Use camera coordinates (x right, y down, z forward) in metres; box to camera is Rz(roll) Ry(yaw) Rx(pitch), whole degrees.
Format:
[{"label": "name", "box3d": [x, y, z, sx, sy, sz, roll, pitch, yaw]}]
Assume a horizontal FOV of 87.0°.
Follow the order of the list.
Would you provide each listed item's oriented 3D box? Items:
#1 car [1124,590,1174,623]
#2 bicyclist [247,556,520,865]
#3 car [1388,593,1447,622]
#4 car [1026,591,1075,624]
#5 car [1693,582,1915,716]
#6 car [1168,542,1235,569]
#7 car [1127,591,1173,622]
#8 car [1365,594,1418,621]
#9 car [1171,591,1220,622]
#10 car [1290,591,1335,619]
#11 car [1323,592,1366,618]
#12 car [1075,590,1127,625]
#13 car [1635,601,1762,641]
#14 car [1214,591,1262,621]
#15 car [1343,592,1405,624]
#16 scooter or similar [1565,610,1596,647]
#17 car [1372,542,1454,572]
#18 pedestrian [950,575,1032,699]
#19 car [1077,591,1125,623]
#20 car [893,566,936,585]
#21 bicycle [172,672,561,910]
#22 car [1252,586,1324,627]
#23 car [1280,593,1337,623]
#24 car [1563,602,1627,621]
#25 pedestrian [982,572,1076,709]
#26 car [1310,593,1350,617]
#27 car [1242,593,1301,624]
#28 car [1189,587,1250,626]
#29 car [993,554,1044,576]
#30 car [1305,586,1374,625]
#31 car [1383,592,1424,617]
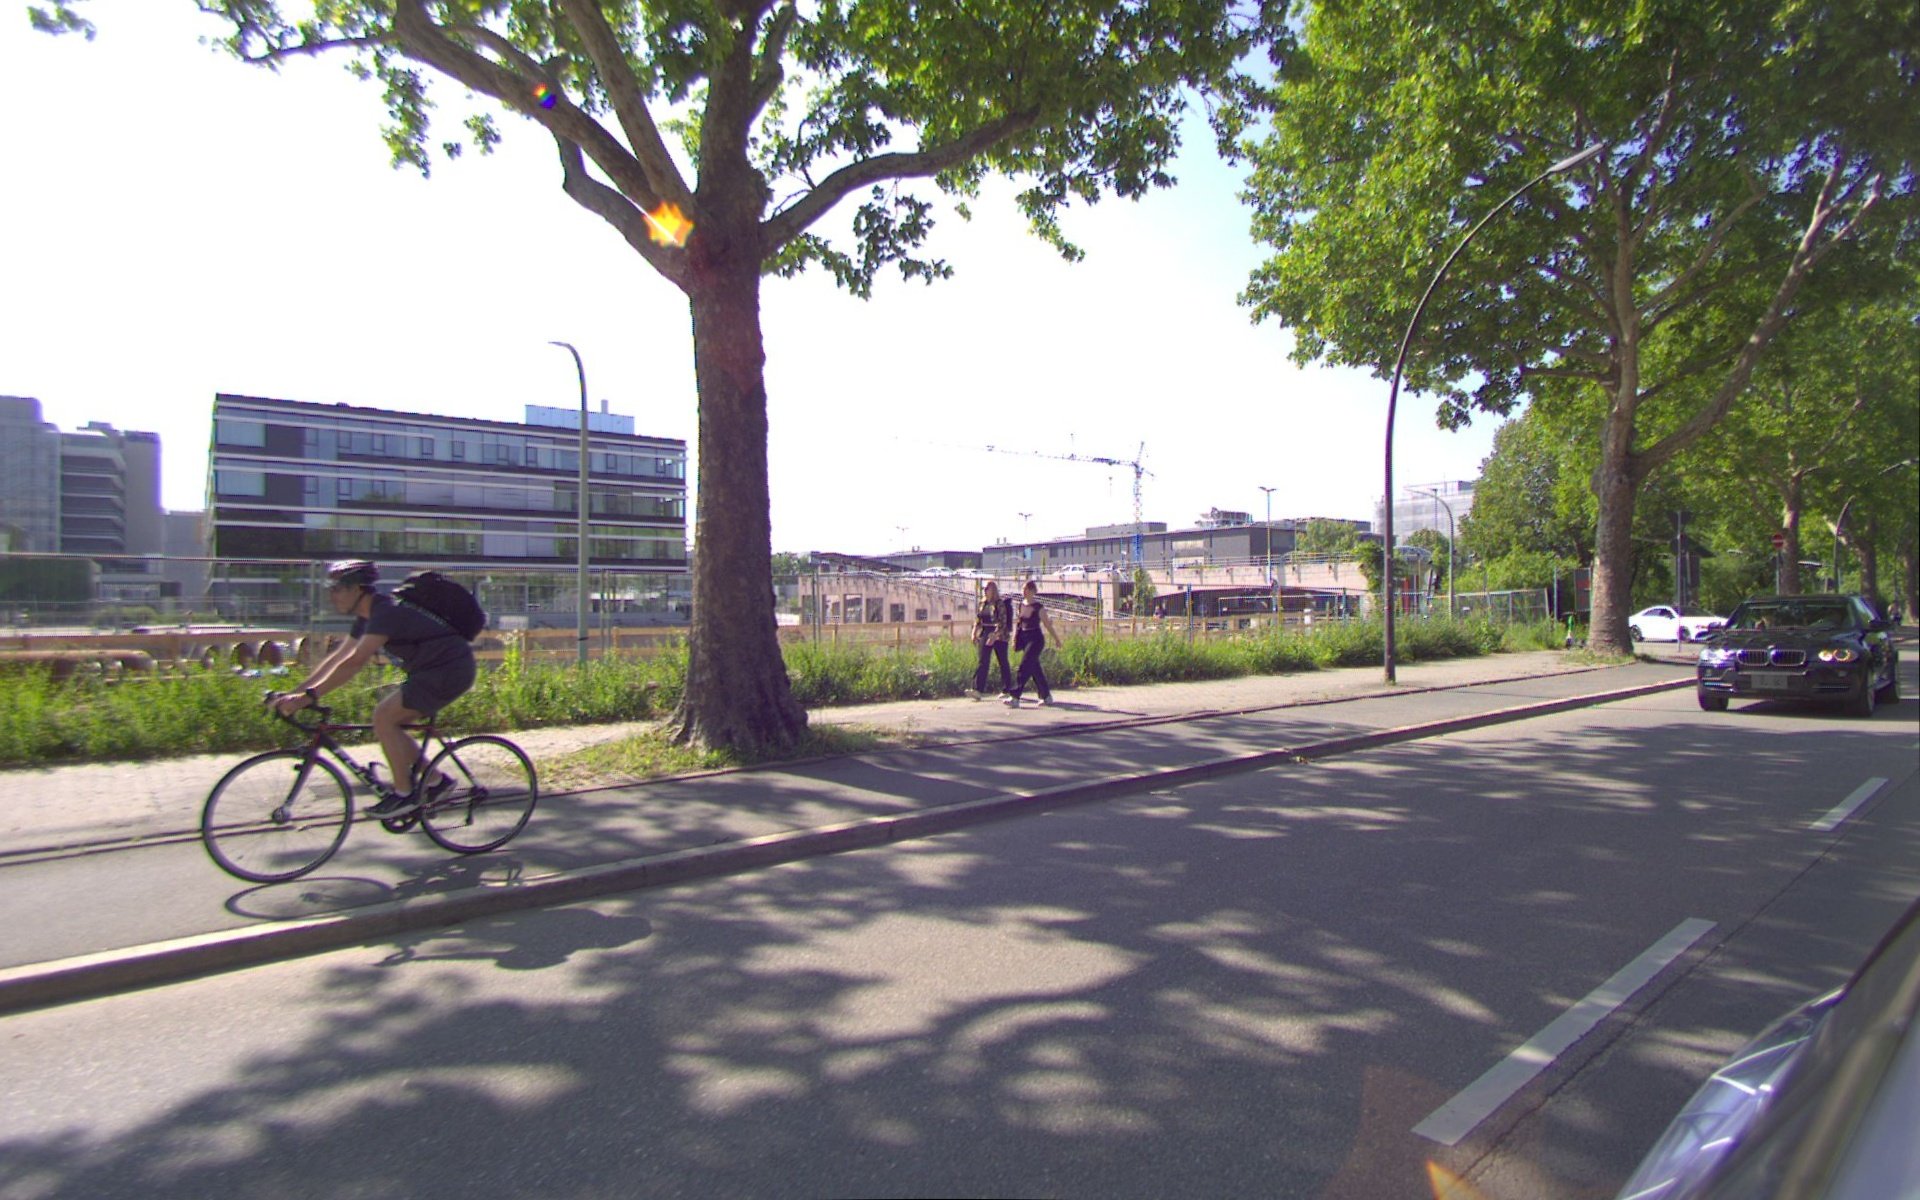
[{"label": "car", "box3d": [16.250, 0.599, 87.054, 1.778, 2.774, 3.991, 1, -2, -42]}, {"label": "bicyclist", "box3d": [-3.150, 0.533, 5.569, 1.194, 1.508, 0.599, 1, 1, -41]}, {"label": "car", "box3d": [37.606, 0.637, 83.262, 1.778, 2.352, 3.991, 1, -2, -42]}, {"label": "car", "box3d": [7.713, 0.657, 86.519, 1.778, 2.774, 3.991, 1, -2, -42]}, {"label": "car", "box3d": [12.844, 0.670, 15.319, 4.079, 1.753, 1.922, 0, -2, -41]}, {"label": "car", "box3d": [16.017, -2.908, 67.201, 1.778, 1.529, 3.991, 1, -1, -42]}, {"label": "car", "box3d": [17.910, 0.636, 95.359, 1.778, 2.774, 3.991, 1, -2, -42]}, {"label": "car", "box3d": [39.020, 0.676, 91.632, 1.778, 2.352, 3.991, 1, -2, -42]}, {"label": "car", "box3d": [21.282, 0.589, 91.581, 1.778, 2.774, 3.991, 1, -2, -42]}, {"label": "car", "box3d": [36.577, 0.559, 105.084, 1.778, 2.774, 3.991, 1, -2, -42]}, {"label": "car", "box3d": [41.575, 0.549, 109.549, 1.778, 2.774, 3.991, 1, -2, -42]}, {"label": "car", "box3d": [11.408, 0.604, 82.085, 1.778, 2.774, 3.991, 1, -2, -42]}, {"label": "car", "box3d": [27.835, 0.798, 38.316, 1.861, 1.427, 3.998, -1, -1, 1]}, {"label": "car", "box3d": [26.378, 0.579, 96.100, 1.778, 2.774, 3.991, 1, -2, -42]}, {"label": "car", "box3d": [31.818, 0.647, 77.871, 1.778, 2.352, 3.991, 1, -2, -42]}, {"label": "scooter or similar", "box3d": [19.696, 0.896, 32.116, 1.108, 1.136, 0.482, 0, -2, -40]}, {"label": "car", "box3d": [26.352, -2.480, 58.919, 1.778, 1.529, 3.991, 1, -1, -42]}, {"label": "pedestrian", "box3d": [0.445, 0.511, 14.397, 0.942, 1.705, 0.696, 1, -2, -41]}, {"label": "car", "box3d": [12.639, 0.648, 90.951, 1.778, 2.774, 3.991, 1, -2, -42]}, {"label": "car", "box3d": [-4.114, -2.195, 90.795, 1.778, 1.529, 3.991, 1, -1, -42]}, {"label": "bicycle", "box3d": [-3.186, 0.951, 5.548, 1.750, 0.992, 0.598, 0, 1, -41]}, {"label": "car", "box3d": [22.456, 0.472, 69.484, 1.778, 2.774, 4.368, 1, -2, -42]}, {"label": "car", "box3d": [28.132, 0.697, 81.868, 1.778, 2.352, 3.991, 1, -2, -42]}, {"label": "car", "box3d": [51.327, 0.941, 81.849, 1.778, 1.529, 3.991, 1, -1, -42]}, {"label": "pedestrian", "box3d": [0.921, 0.520, 13.479, 1.047, 1.747, 0.711, 1, -2, -41]}, {"label": "car", "box3d": [43.174, 0.589, 118.188, 1.778, 2.774, 3.991, 1, -2, -42]}, {"label": "car", "box3d": [24.058, 0.705, 78.235, 1.778, 2.352, 3.991, 1, -2, -42]}, {"label": "car", "box3d": [18.904, 0.504, 73.767, 1.778, 2.774, 3.991, 1, -2, -42]}, {"label": "car", "box3d": [4.634, -2.749, 80.440, 1.778, 1.529, 3.991, 1, -1, -42]}, {"label": "car", "box3d": [27.725, 0.461, 73.952, 1.778, 2.774, 4.368, 1, -2, -42]}, {"label": "car", "box3d": [51.892, 0.528, 118.539, 1.778, 2.774, 3.991, 1, -2, -42]}]
